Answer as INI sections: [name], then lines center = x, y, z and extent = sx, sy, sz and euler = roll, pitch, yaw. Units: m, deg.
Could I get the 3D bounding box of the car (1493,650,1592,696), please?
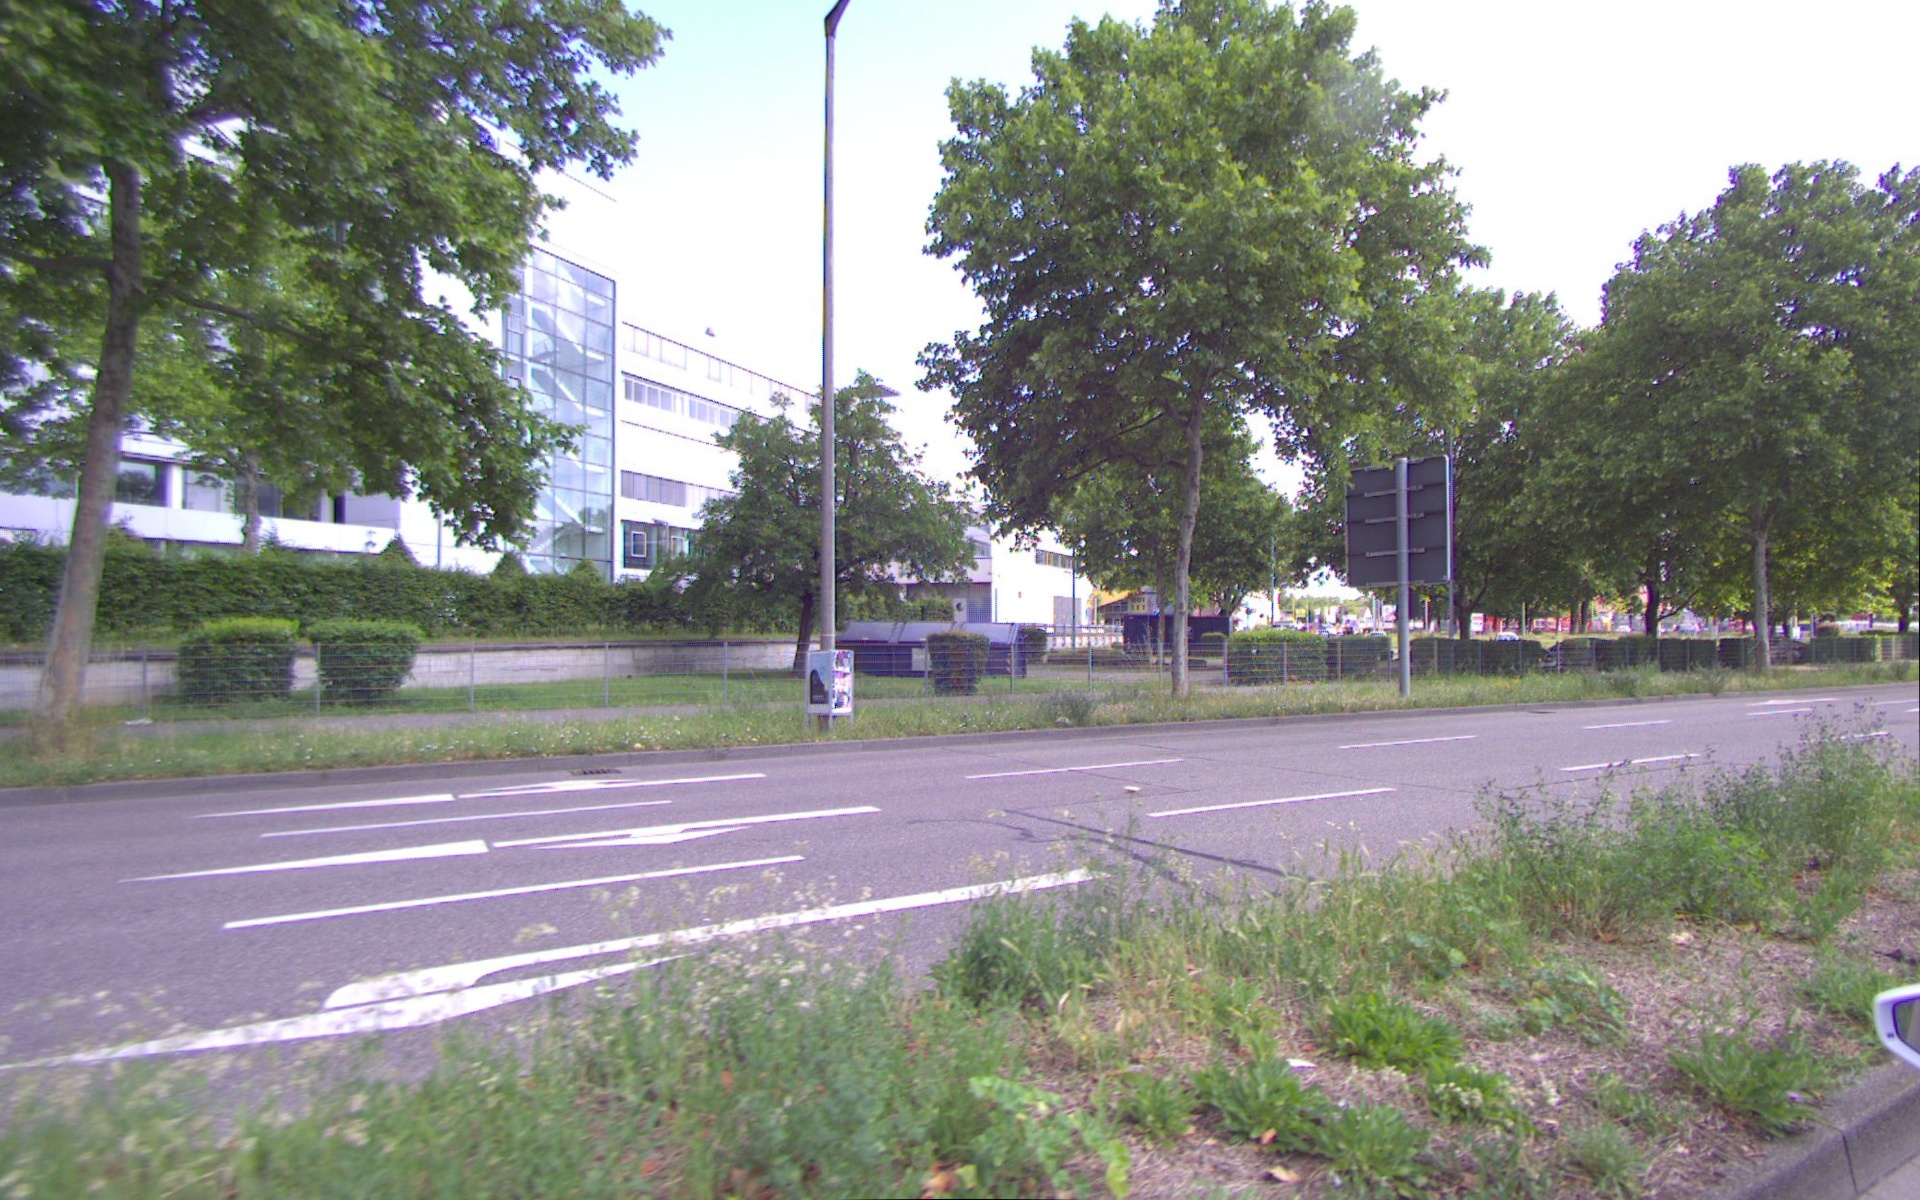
[car]
center = 24.301, 3.051, 41.870
extent = 3.955, 1.616, 1.882
euler = 5, -3, -31
